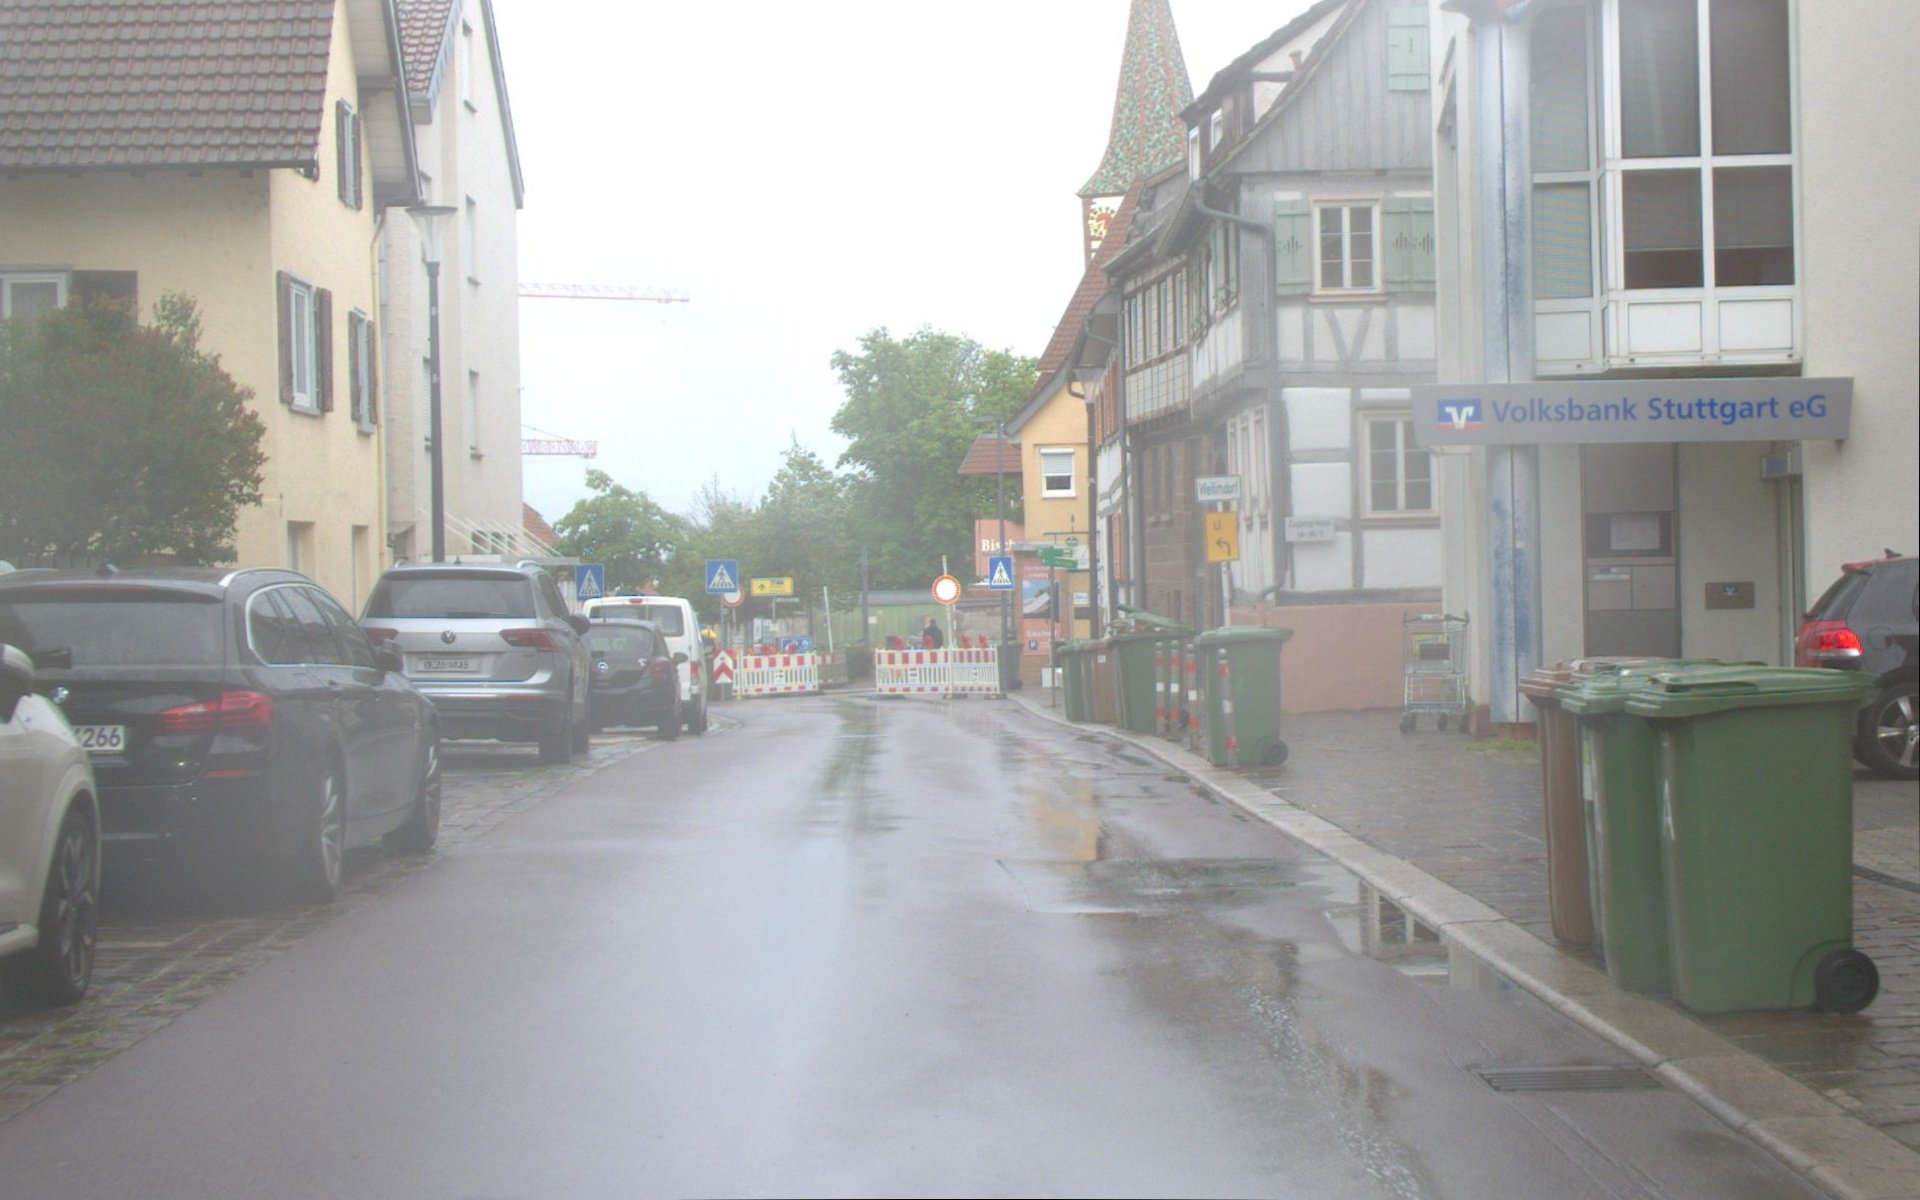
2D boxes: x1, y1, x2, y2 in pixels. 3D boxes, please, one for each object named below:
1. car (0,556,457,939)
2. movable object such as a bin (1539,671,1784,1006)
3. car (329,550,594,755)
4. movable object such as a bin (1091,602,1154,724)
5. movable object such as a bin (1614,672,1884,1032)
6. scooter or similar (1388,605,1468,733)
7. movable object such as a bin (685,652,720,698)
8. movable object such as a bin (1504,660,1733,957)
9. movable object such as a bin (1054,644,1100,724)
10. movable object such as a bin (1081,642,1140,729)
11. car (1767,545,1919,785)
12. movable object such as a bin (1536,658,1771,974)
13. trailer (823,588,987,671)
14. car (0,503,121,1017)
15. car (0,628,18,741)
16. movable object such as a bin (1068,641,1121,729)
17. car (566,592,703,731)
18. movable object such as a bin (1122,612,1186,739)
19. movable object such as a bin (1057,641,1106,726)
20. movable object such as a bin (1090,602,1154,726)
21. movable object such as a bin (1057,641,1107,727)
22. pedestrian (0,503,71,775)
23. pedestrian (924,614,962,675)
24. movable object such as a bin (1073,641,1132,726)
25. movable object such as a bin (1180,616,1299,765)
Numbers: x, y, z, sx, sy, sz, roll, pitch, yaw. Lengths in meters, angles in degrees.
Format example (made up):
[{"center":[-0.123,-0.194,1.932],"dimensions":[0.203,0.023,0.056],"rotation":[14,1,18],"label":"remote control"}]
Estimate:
[{"center":[-3.651,0.590,16.108],"dimensions":[1.830,1.493,4.763],"rotation":[-2,0,0],"label":"car"},{"center":[2.362,0.791,11.640],"dimensions":[0.676,1.080,0.698],"rotation":[-1,0,1],"label":"movable object such as a bin"},{"center":[-4.089,0.459,28.794],"dimensions":[1.779,1.563,4.408],"rotation":[-1,-1,-3],"label":"car"},{"center":[1.748,0.680,36.957],"dimensions":[0.638,1.286,0.632],"rotation":[-1,-2,4],"label":"movable object such as a bin"},{"center":[2.486,0.781,10.898],"dimensions":[0.676,1.082,0.718],"rotation":[-1,0,1],"label":"movable object such as a bin"},{"center":[4.315,0.638,31.775],"dimensions":[0.665,1.142,1.445],"rotation":[-1,-1,6],"label":"scooter or similar"},{"center":[-5.866,1.707,78.309],"dimensions":[0.544,1.029,0.533],"rotation":[-5,-3,32],"label":"movable object such as a bin"},{"center":[2.485,0.777,13.031],"dimensions":[0.729,1.077,0.646],"rotation":[-1,-1,1],"label":"movable object such as a bin"},{"center":[1.679,1.204,49.232],"dimensions":[0.609,1.124,0.599],"rotation":[-1,-2,-1],"label":"movable object such as a bin"},{"center":[1.917,1.089,43.826],"dimensions":[0.678,1.093,0.650],"rotation":[0,-1,-5],"label":"movable object such as a bin"},{"center":[7.479,0.374,22.749],"dimensions":[3.988,1.509,1.910],"rotation":[-2,-2,10],"label":"car"},{"center":[2.487,0.764,12.380],"dimensions":[0.710,1.091,0.614],"rotation":[-1,-1,1],"label":"movable object such as a bin"},{"center":[-2.015,1.077,125.389],"dimensions":[5.780,2.938,2.000],"rotation":[-1,-2,-6],"label":"trailer"},{"center":[-3.775,0.472,9.975],"dimensions":[1.791,1.546,4.000],"rotation":[0,-1,-1],"label":"car"},{"center":[-12.510,1.023,41.152],"dimensions":[1.680,1.384,3.826],"rotation":[-1,-1,-4],"label":"car"},{"center":[1.784,1.129,45.650],"dimensions":[0.638,1.143,0.632],"rotation":[-1,-2,-3],"label":"movable object such as a bin"},{"center":[-4.482,0.862,47.785],"dimensions":[1.723,1.819,4.428],"rotation":[-1,-1,-3],"label":"car"},{"center":[2.008,0.780,35.520],"dimensions":[0.638,1.286,0.632],"rotation":[-1,-2,4],"label":"movable object such as a bin"},{"center":[1.665,1.135,46.945],"dimensions":[0.638,1.143,0.580],"rotation":[-1,-2,4],"label":"movable object such as a bin"},{"center":[1.710,0.672,36.270],"dimensions":[0.638,1.286,0.632],"rotation":[-1,-2,4],"label":"movable object such as a bin"},{"center":[1.647,1.128,46.330],"dimensions":[0.638,1.143,0.603],"rotation":[-1,-2,4],"label":"movable object such as a bin"},{"center":[-6.705,0.259,23.386],"dimensions":[1.035,1.800,1.116],"rotation":[0,0,-1],"label":"pedestrian"},{"center":[-0.511,1.297,100.358],"dimensions":[0.990,1.753,0.852],"rotation":[-1,-2,-7],"label":"pedestrian"},{"center":[1.860,1.096,44.957],"dimensions":[0.669,1.078,0.588],"rotation":[-2,-2,-3],"label":"movable object such as a bin"},{"center":[2.155,0.698,26.610],"dimensions":[0.804,1.127,0.862],"rotation":[-1,-2,-2],"label":"movable object such as a bin"}]
